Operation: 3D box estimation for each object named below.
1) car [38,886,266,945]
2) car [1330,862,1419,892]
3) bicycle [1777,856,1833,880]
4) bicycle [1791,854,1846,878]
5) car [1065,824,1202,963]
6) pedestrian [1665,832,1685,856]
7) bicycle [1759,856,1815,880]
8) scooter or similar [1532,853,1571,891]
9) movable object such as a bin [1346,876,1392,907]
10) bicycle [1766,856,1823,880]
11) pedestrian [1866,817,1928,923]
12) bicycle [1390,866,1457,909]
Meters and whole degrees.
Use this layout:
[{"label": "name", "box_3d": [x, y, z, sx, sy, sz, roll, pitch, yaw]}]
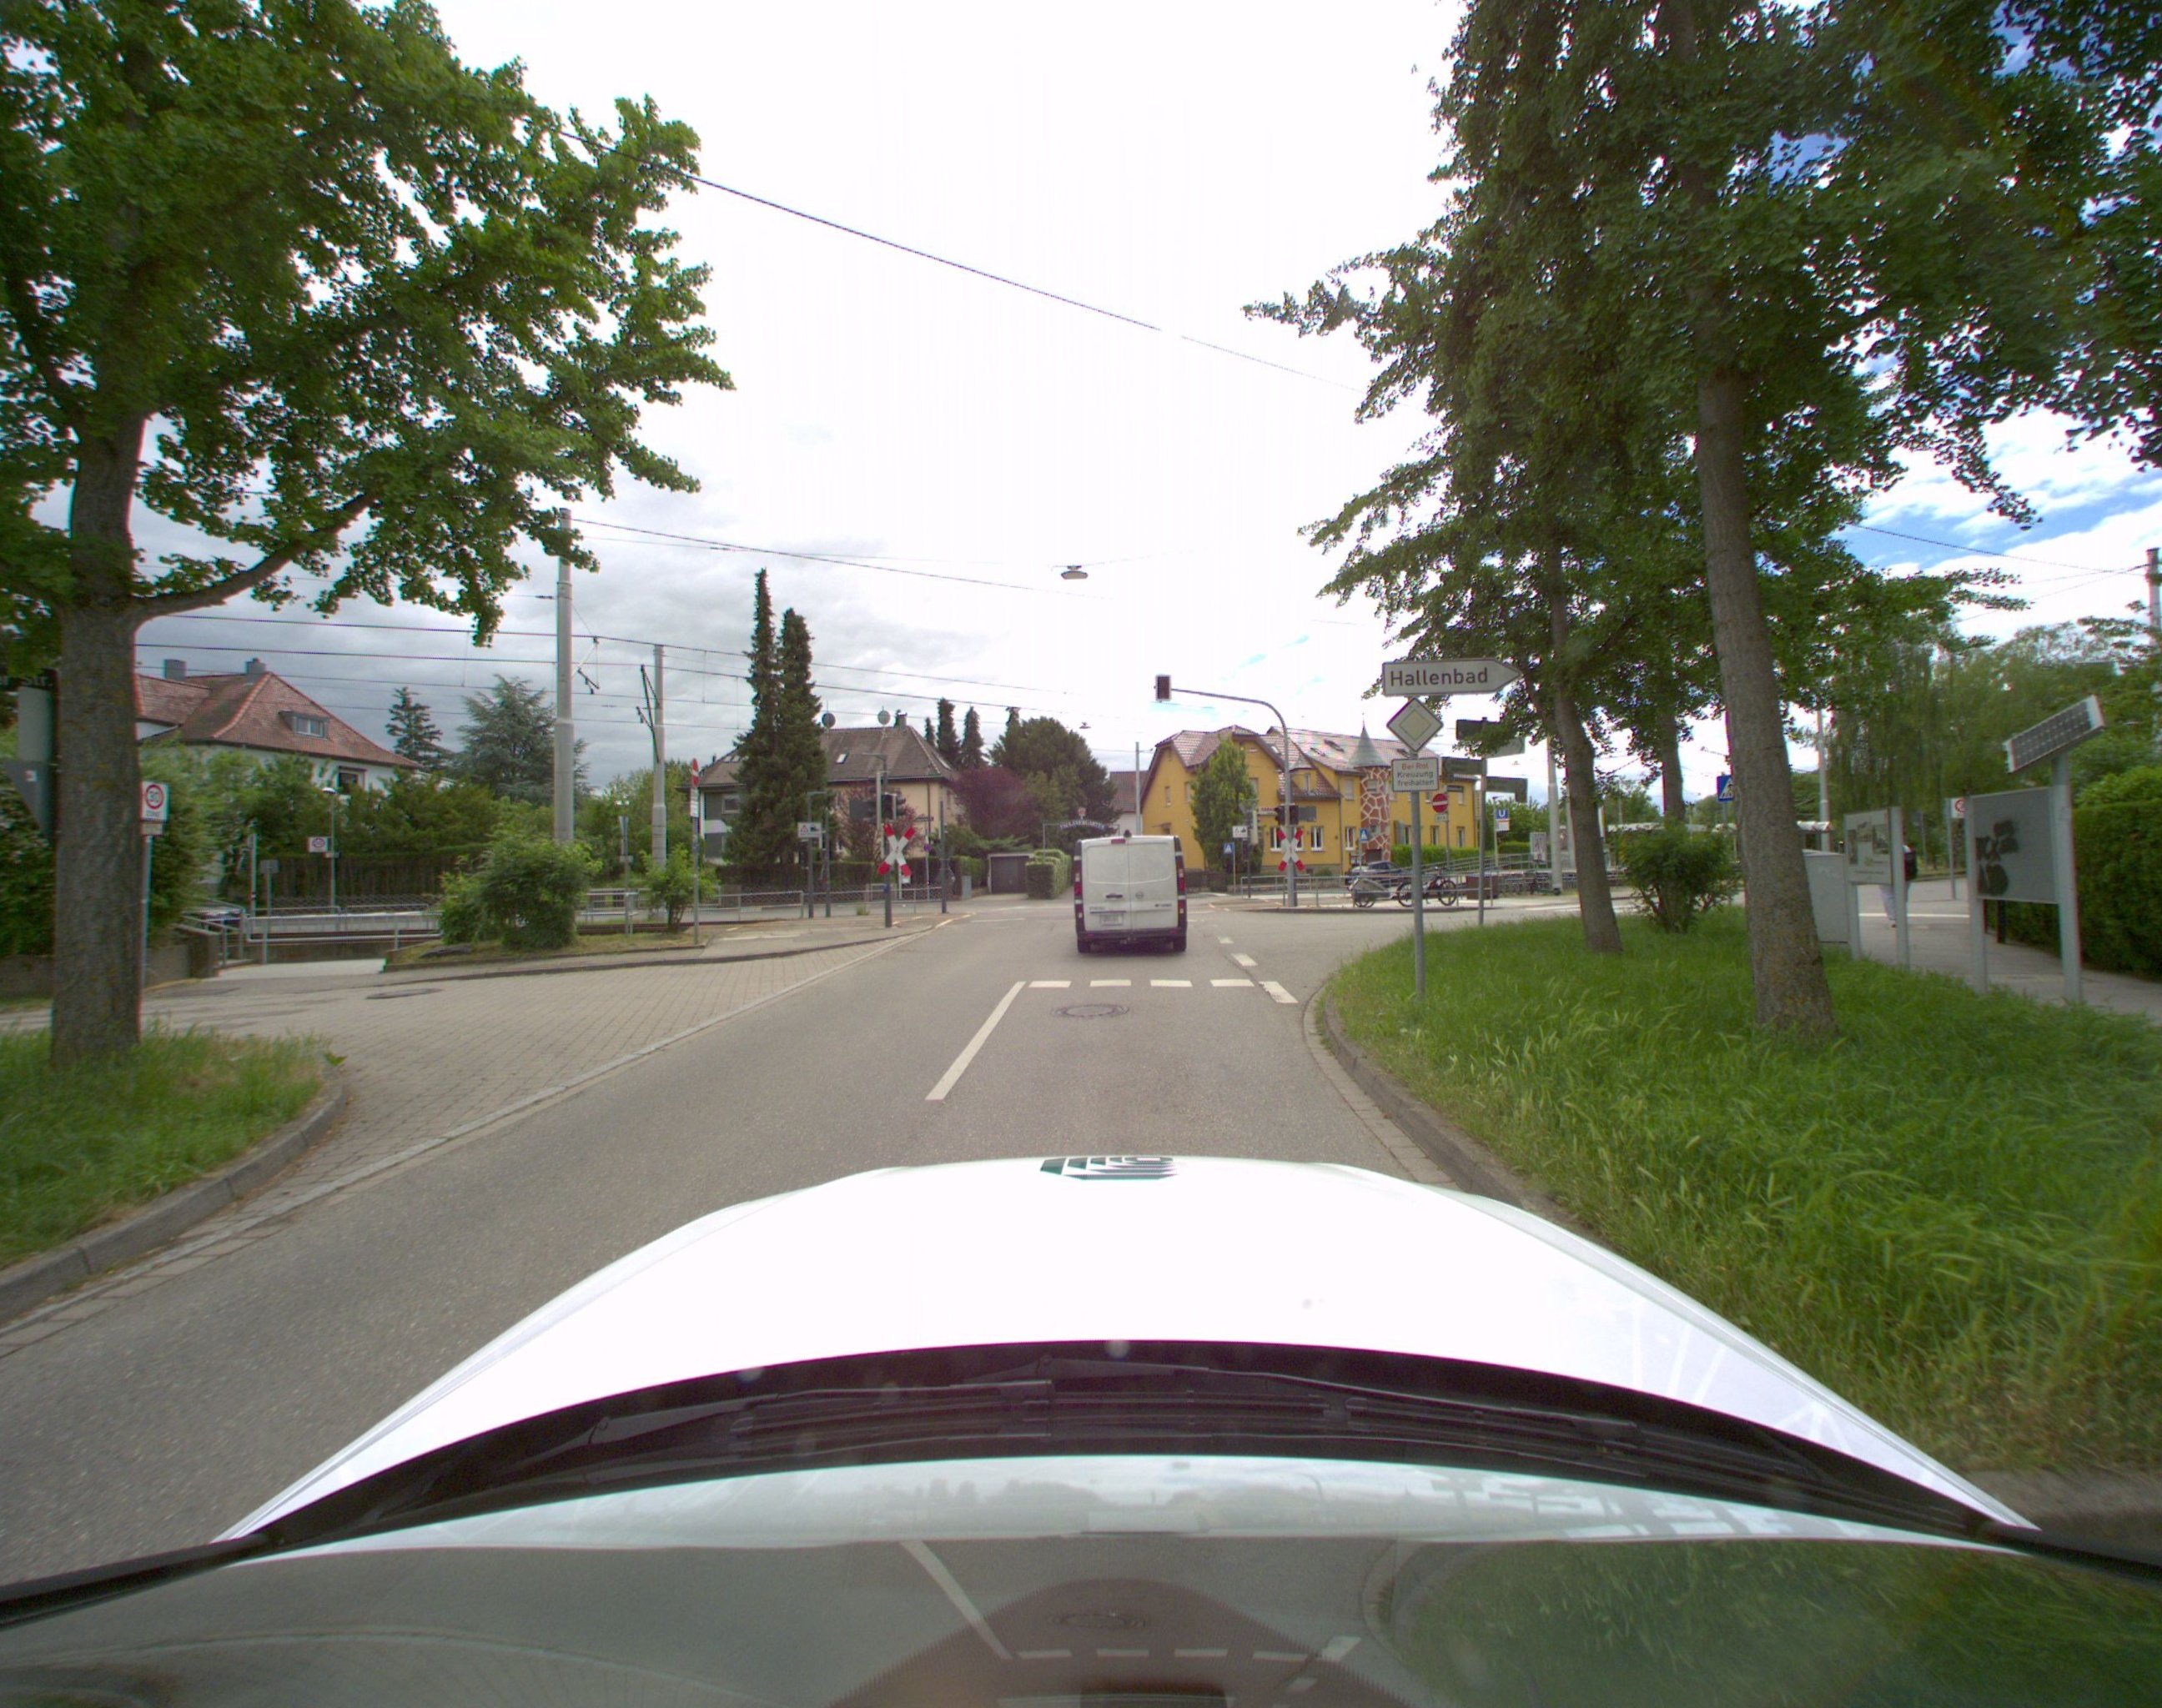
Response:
[{"label": "car", "box_3d": [-27.746, 1.798, 24.522, 4.124, 1.501, 1.808, -1, -1, -23]}, {"label": "car", "box_3d": [16.204, 1.229, 45.011, 4.384, 1.564, 2.341, 0, -1, -29]}, {"label": "bicycle", "box_3d": [32.193, 0.617, 36.248, 0.558, 1.042, 1.754, 0, -2, -28]}, {"label": "bicycle", "box_3d": [33.557, 0.559, 37.066, 0.558, 1.042, 1.754, 0, -2, -28]}, {"label": "car", "box_3d": [0.840, 0.652, 15.464, 2.110, 2.134, 5.440, -1, -1, 0]}, {"label": "pedestrian", "box_3d": [43.042, -0.745, 58.979, 0.914, 1.671, 0.878, 0, -2, -38]}, {"label": "bicycle", "box_3d": [30.757, 0.615, 35.505, 0.558, 1.042, 1.754, 0, -2, -28]}, {"label": "scooter or similar", "box_3d": [16.651, 0.649, 28.843, 0.491, 1.316, 1.041, -2, -2, -27]}, {"label": "movable object such as a bin", "box_3d": [8.151, 1.060, 23.081, 1.088, 0.824, 0.579, -1, -1, -3]}, {"label": "bicycle", "box_3d": [31.384, 0.633, 35.848, 0.558, 1.042, 1.754, 0, -2, -28]}, {"label": "pedestrian", "box_3d": [15.117, 0.294, 15.103, 0.617, 1.915, 0.836, -4, -2, 38]}, {"label": "bicycle", "box_3d": [9.684, 0.934, 23.050, 1.685, 1.156, 0.465, -2, -2, -7]}]
